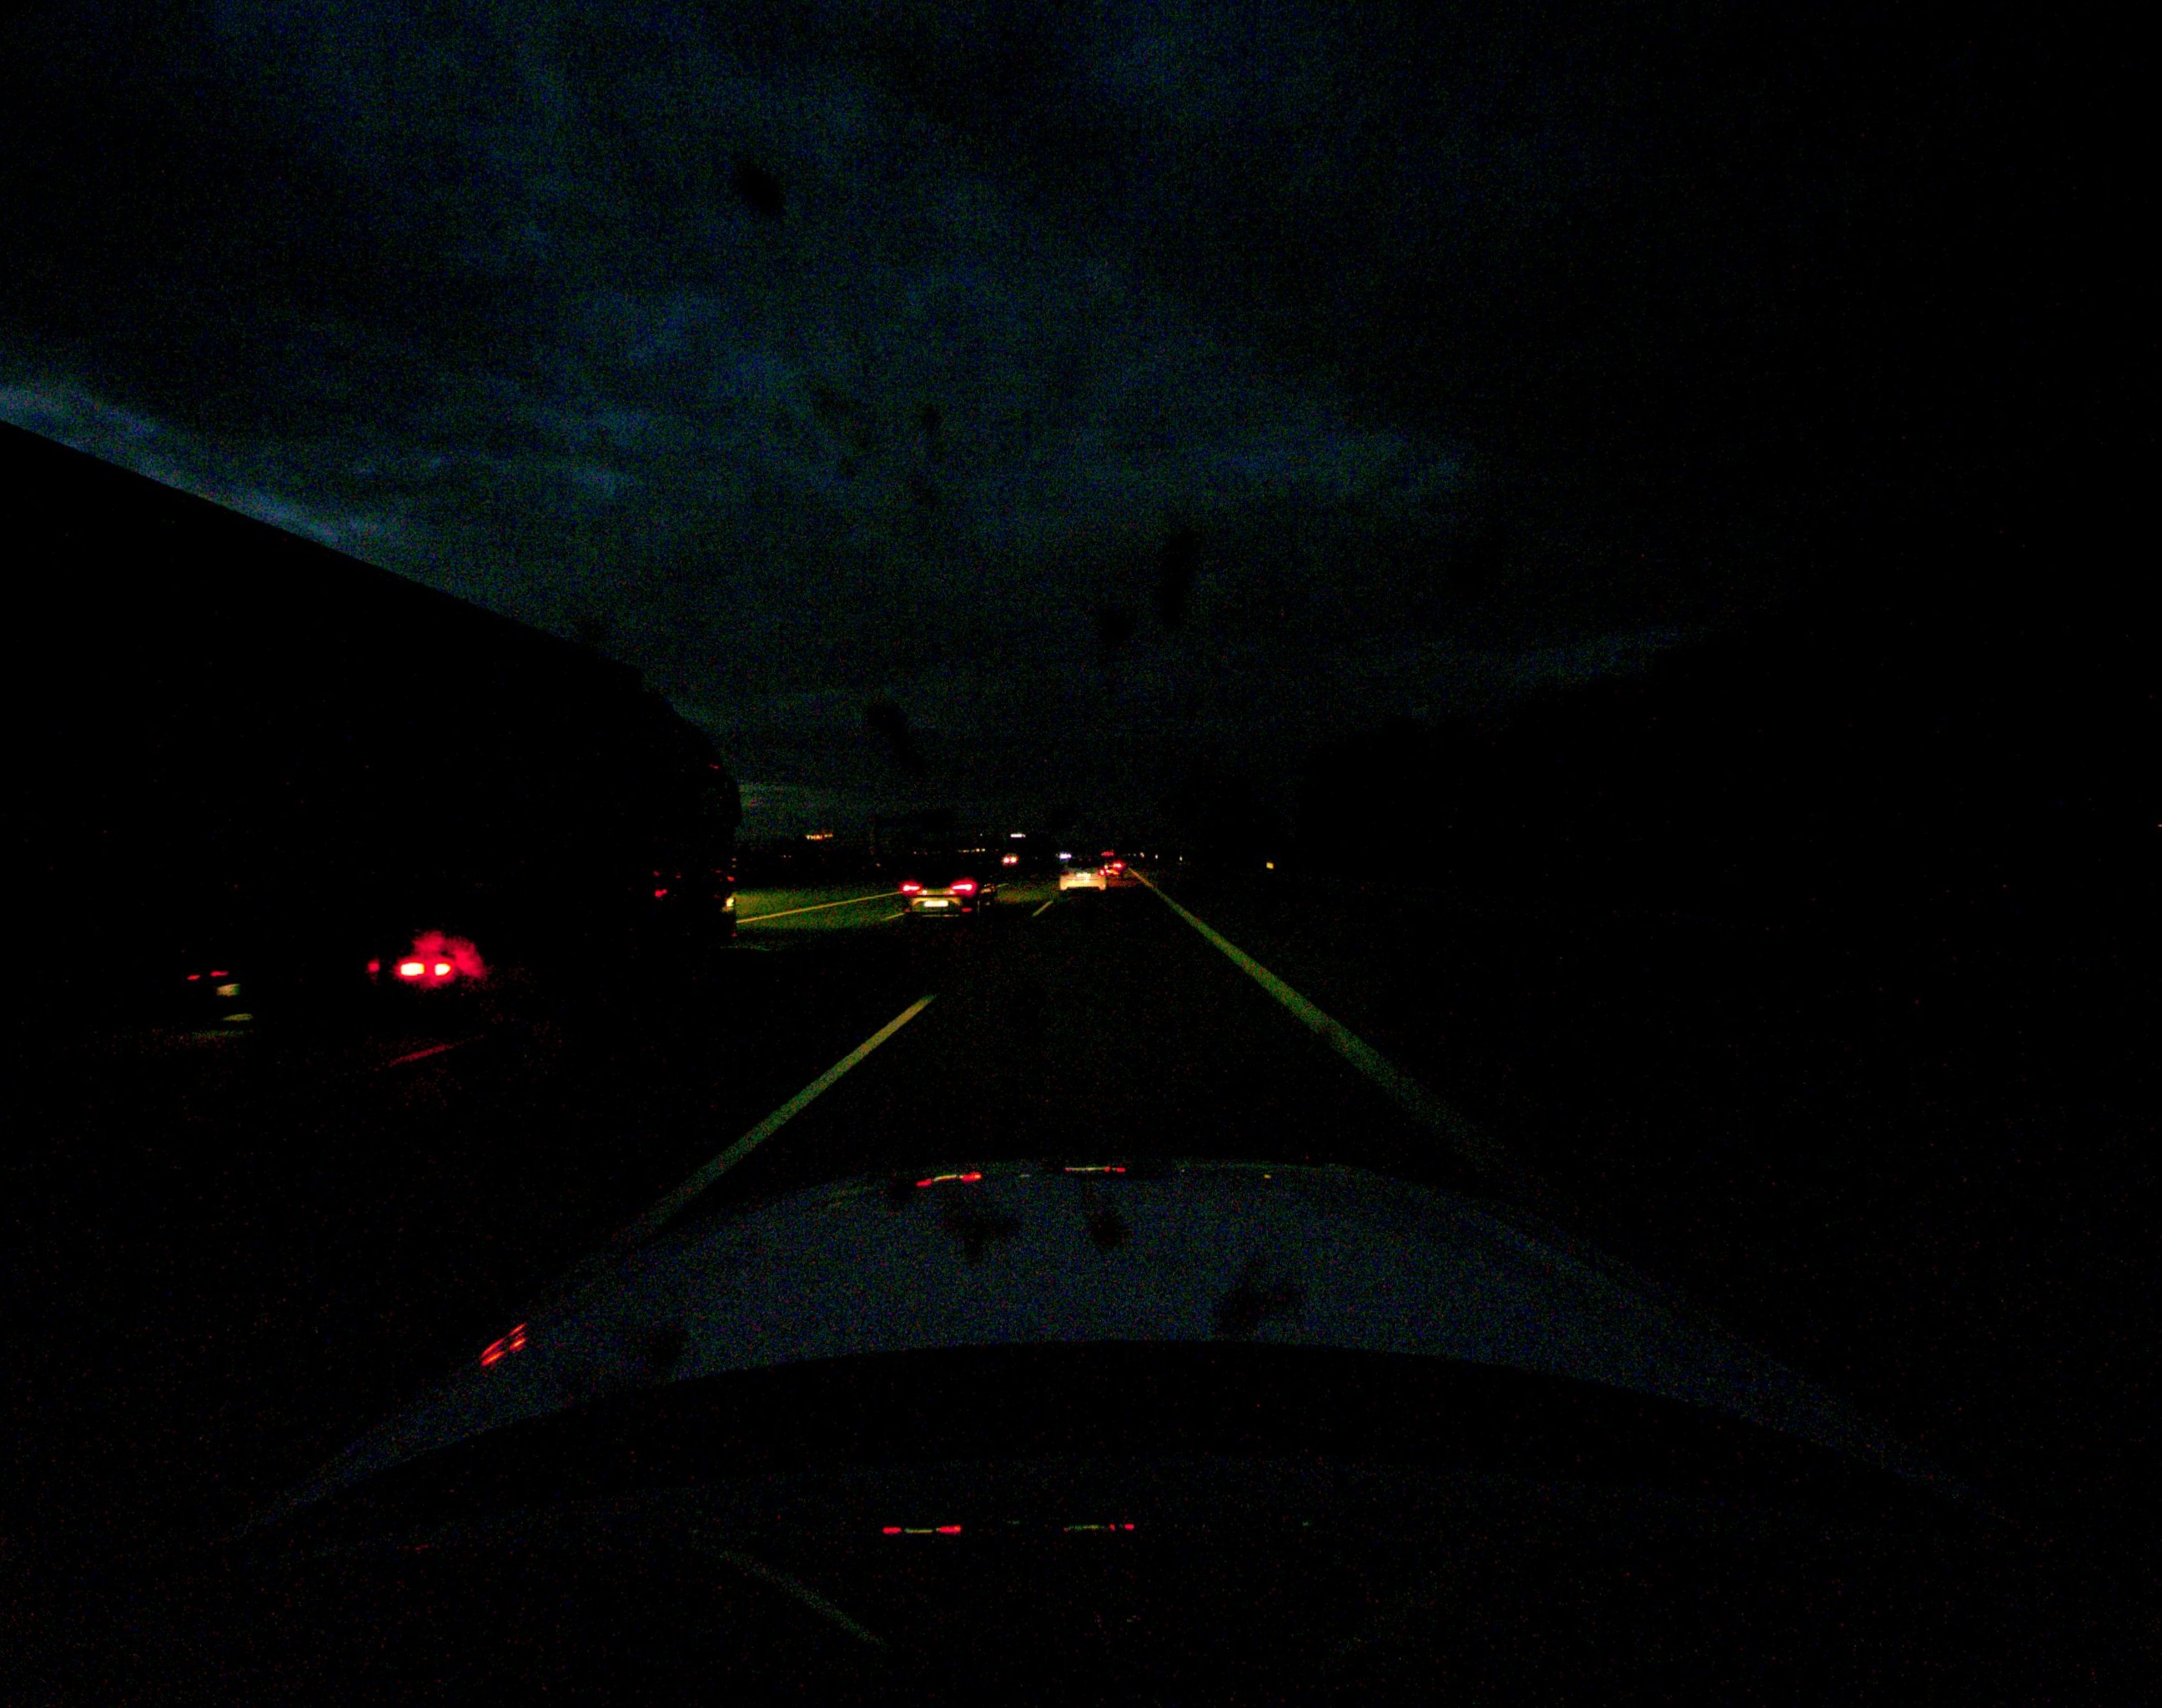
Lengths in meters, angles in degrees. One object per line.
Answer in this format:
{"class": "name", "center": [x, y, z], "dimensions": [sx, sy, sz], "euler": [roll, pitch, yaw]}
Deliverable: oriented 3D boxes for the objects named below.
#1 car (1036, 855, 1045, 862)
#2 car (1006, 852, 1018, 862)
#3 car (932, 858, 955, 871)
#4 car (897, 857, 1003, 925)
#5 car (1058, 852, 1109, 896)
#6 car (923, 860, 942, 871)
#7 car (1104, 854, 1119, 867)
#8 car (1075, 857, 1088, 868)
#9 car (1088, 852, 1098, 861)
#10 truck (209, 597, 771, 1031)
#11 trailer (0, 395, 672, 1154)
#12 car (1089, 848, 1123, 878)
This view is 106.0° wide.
{"class": "car", "center": [-9.694, 1.165, 196.542], "dimensions": [1.692, 1.617, 4.628], "euler": [-1, -1, 2]}
{"class": "car", "center": [-16.063, 0.688, 189.497], "dimensions": [1.986, 2.388, 5.839], "euler": [-1, -1, 2]}
{"class": "car", "center": [-12.981, 0.984, 76.855], "dimensions": [1.442, 1.233, 3.508], "euler": [-1, -1, 2]}
{"class": "car", "center": [-3.106, 0.825, 20.265], "dimensions": [1.716, 1.471, 4.727], "euler": [-1, -1, 1]}
{"class": "car", "center": [0.174, 0.720, 30.878], "dimensions": [1.737, 1.525, 4.416], "euler": [-1, -1, 2]}
{"class": "car", "center": [-16.422, 1.273, 90.052], "dimensions": [1.358, 1.261, 3.508], "euler": [-1, -1, 2]}
{"class": "car", "center": [3.758, 0.790, 101.439], "dimensions": [1.873, 1.552, 4.001], "euler": [-1, -1, 1]}
{"class": "car", "center": [0.069, 1.275, 117.731], "dimensions": [1.873, 1.552, 4.001], "euler": [-1, -1, 1]}
{"class": "car", "center": [2.630, 0.536, 181.575], "dimensions": [2.191, 1.879, 4.001], "euler": [-1, -1, 2]}
{"class": "truck", "center": [-6.868, -0.357, 10.885], "dimensions": [2.766, 4.093, 6.107], "euler": [-2, -1, 3]}
{"class": "trailer", "center": [-7.229, -0.411, 3.589], "dimensions": [2.783, 4.085, 14.535], "euler": [-2, -1, 3]}
{"class": "car", "center": [1.485, 0.506, 47.484], "dimensions": [1.873, 1.643, 4.001], "euler": [-1, -1, 2]}
